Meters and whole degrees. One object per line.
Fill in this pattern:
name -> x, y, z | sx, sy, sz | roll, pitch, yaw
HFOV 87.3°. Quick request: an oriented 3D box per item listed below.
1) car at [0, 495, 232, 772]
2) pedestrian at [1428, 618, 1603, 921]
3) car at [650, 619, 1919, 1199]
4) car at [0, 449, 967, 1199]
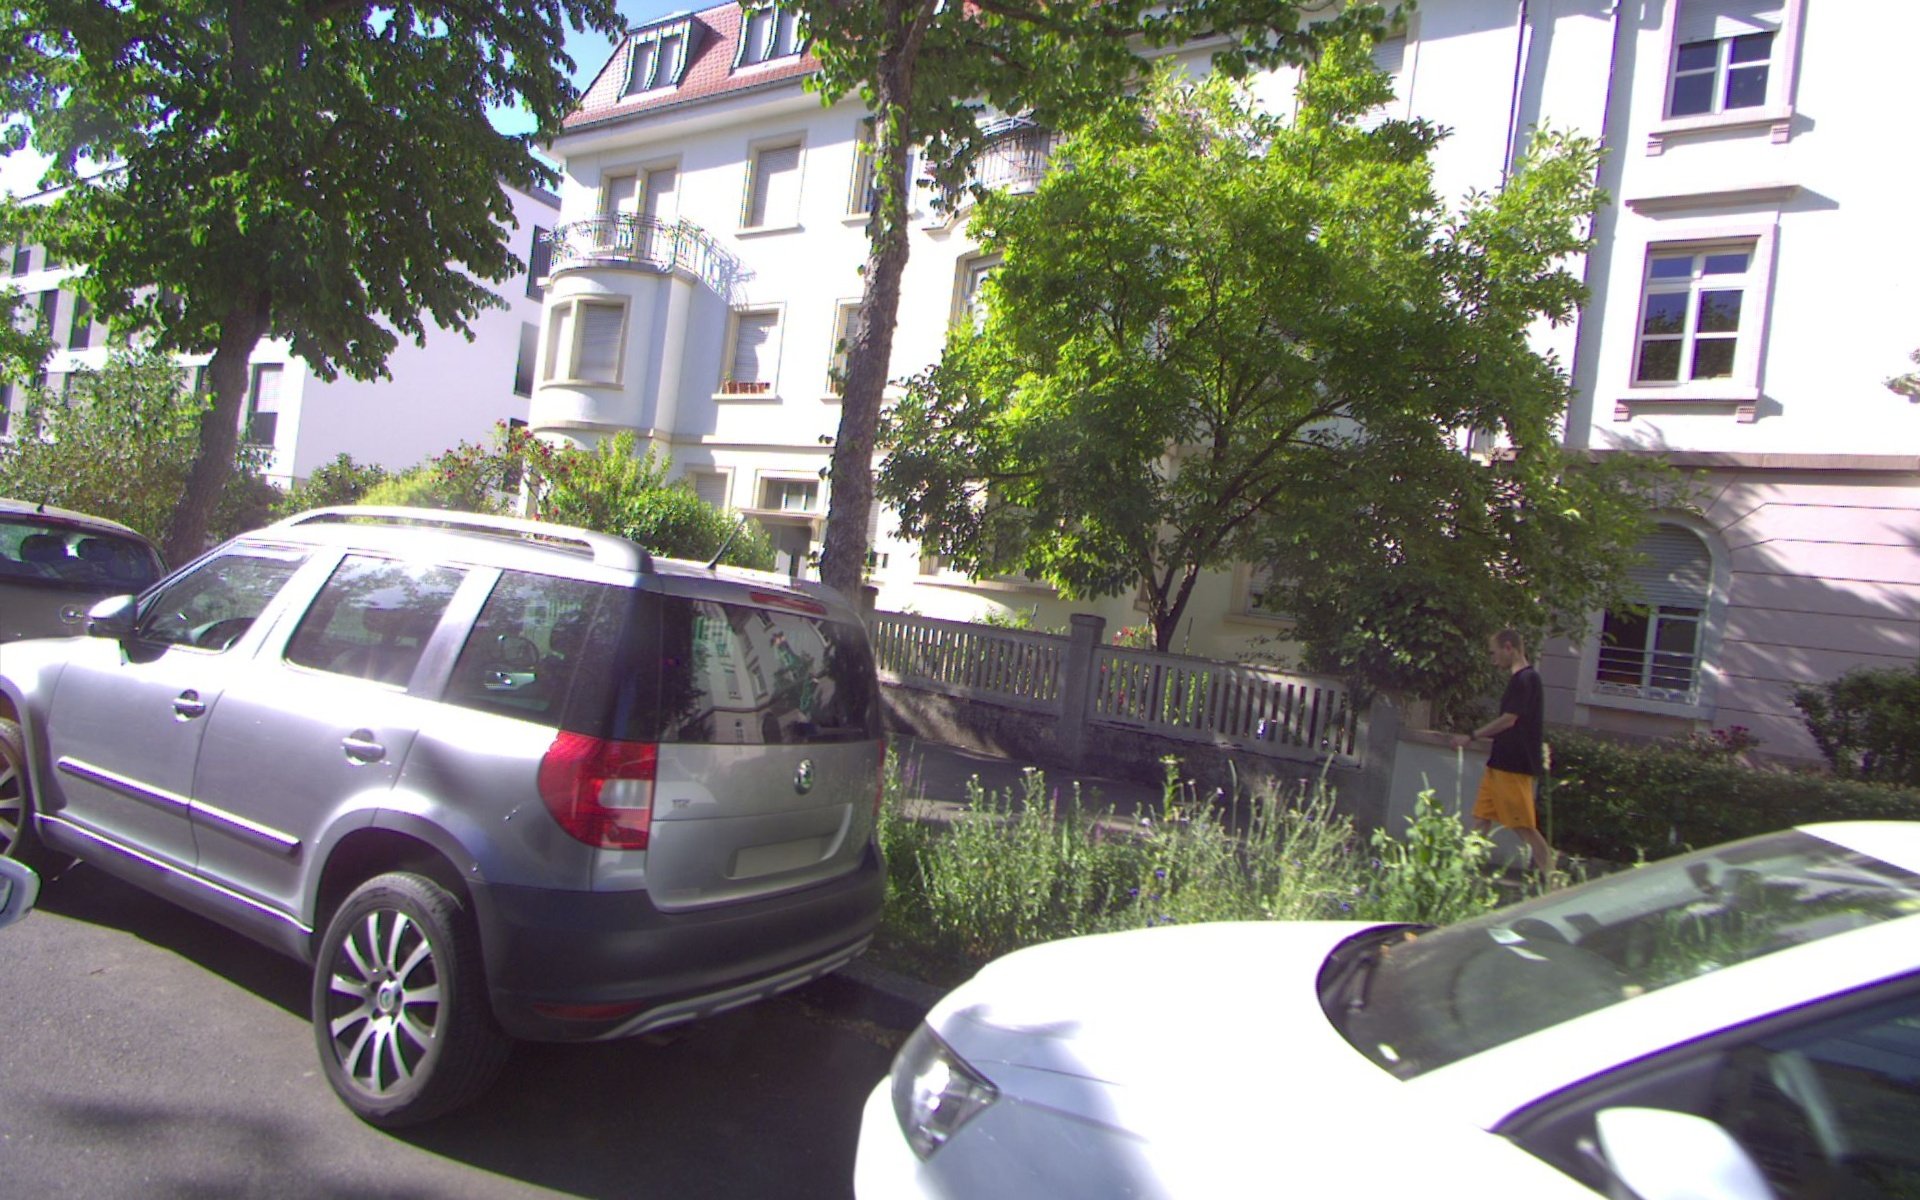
car -> -6.489, 0.024, 6.361 | 3.551, 1.446, 1.652 | 7, 0, 30
pedestrian -> 3.677, 1.069, 6.671 | 0.786, 1.797, 0.623 | 7, 1, 31
car -> 1.693, 1.025, 1.437 | 4.295, 1.442, 1.631 | 7, 0, 32
car -> -2.105, 0.474, 3.918 | 3.780, 1.675, 1.652 | 7, -1, 28
